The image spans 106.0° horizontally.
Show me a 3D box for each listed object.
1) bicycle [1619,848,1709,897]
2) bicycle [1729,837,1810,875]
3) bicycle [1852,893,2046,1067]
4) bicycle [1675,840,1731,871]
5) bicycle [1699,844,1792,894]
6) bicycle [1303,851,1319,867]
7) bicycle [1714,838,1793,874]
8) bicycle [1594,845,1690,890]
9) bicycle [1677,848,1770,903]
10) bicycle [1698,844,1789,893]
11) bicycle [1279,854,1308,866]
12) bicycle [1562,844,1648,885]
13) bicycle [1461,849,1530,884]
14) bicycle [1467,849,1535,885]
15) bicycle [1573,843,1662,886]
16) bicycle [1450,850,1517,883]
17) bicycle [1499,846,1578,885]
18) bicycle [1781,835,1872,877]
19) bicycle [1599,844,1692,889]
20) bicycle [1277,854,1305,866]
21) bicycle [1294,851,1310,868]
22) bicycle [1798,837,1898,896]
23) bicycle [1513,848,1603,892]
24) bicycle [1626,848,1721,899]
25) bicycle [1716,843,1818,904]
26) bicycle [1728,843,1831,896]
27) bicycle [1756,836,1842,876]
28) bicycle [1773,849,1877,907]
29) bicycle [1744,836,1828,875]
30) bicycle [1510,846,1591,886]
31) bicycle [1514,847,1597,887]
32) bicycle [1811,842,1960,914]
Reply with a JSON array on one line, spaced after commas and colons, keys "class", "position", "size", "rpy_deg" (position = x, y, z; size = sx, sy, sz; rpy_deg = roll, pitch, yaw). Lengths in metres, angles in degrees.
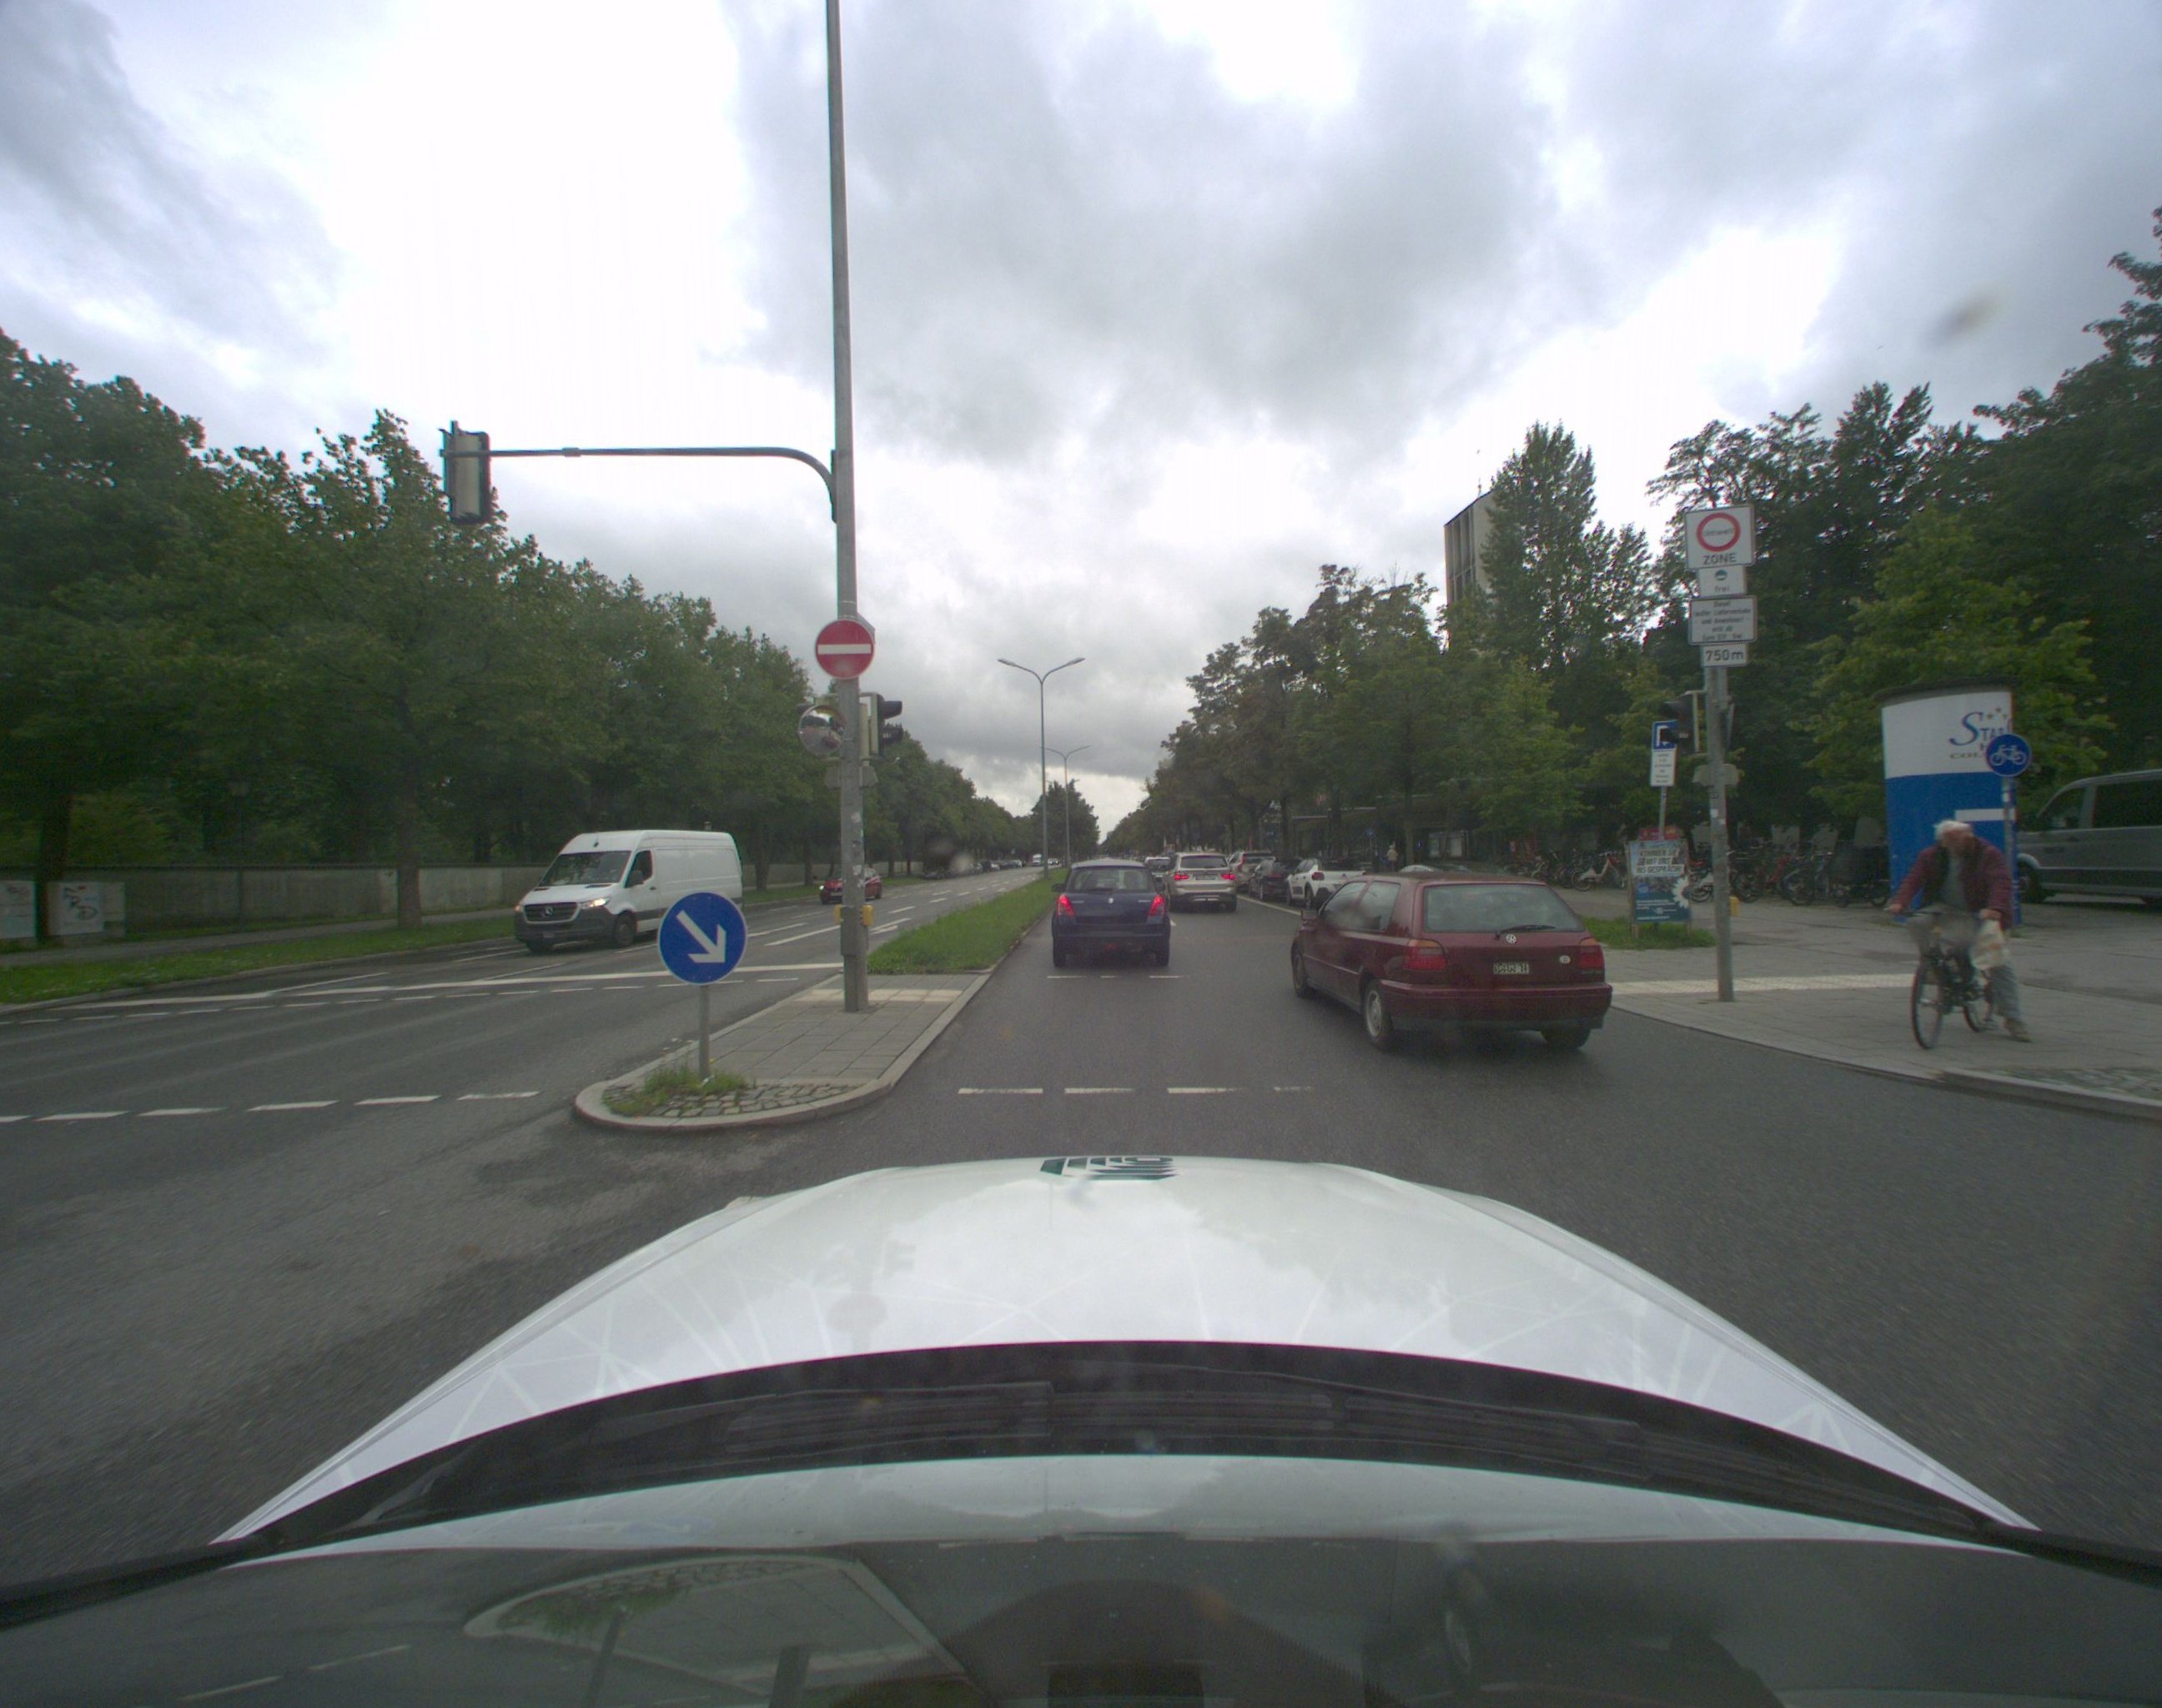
[{"class": "bicycle", "position": [15.103, 0.478, 21.124], "size": [1.797, 1.142, 0.568], "rpy_deg": [-3, -1, 6]}, {"class": "bicycle", "position": [24.295, 0.068, 28.759], "size": [2.330, 1.157, 0.529], "rpy_deg": [-4, 0, 0]}, {"class": "bicycle", "position": [6.864, 0.899, 6.413], "size": [1.955, 1.081, 0.740], "rpy_deg": [-1, -1, -35]}, {"class": "bicycle", "position": [25.015, 0.050, 32.810], "size": [0.525, 1.157, 2.348], "rpy_deg": [-4, 0, 4]}, {"class": "bicycle", "position": [16.615, 0.374, 20.380], "size": [1.799, 1.142, 0.567], "rpy_deg": [-3, -1, 1]}, {"class": "bicycle", "position": [18.511, 0.405, 65.588], "size": [0.643, 1.280, 2.551], "rpy_deg": [-2, 0, 1]}, {"class": "bicycle", "position": [24.257, 0.070, 29.395], "size": [2.330, 1.157, 0.529], "rpy_deg": [-4, 0, 0]}, {"class": "bicycle", "position": [16.352, 0.387, 23.761], "size": [2.330, 1.157, 0.585], "rpy_deg": [-4, 0, 0]}, {"class": "bicycle", "position": [14.696, 0.481, 18.640], "size": [1.806, 1.142, 0.565], "rpy_deg": [-3, -1, -11]}, {"class": "bicycle", "position": [17.063, 0.366, 21.004], "size": [1.799, 1.142, 0.567], "rpy_deg": [-3, -1, 1]}, {"class": "bicycle", "position": [20.427, 0.545, 78.242], "size": [2.533, 1.089, 0.647], "rpy_deg": [-2, -1, 1]}, {"class": "bicycle", "position": [16.775, 0.328, 26.093], "size": [2.330, 1.157, 0.585], "rpy_deg": [-4, 0, 0]}, {"class": "bicycle", "position": [15.867, 0.484, 31.189], "size": [2.330, 1.157, 0.529], "rpy_deg": [-4, 0, 0]}, {"class": "bicycle", "position": [15.608, 0.483, 30.278], "size": [2.337, 1.157, 0.528], "rpy_deg": [-4, 0, -8]}, {"class": "bicycle", "position": [16.766, 0.326, 25.483], "size": [2.330, 1.157, 0.585], "rpy_deg": [-4, 0, 0]}, {"class": "bicycle", "position": [15.898, 0.487, 32.211], "size": [2.330, 1.157, 0.529], "rpy_deg": [-4, 0, 0]}, {"class": "bicycle", "position": [15.582, 0.391, 27.782], "size": [2.330, 1.157, 0.529], "rpy_deg": [-4, 0, 0]}, {"class": "bicycle", "position": [23.721, 0.063, 25.928], "size": [2.330, 1.157, 0.529], "rpy_deg": [-4, 0, 0]}, {"class": "bicycle", "position": [16.903, 0.367, 24.406], "size": [2.330, 1.157, 0.585], "rpy_deg": [-4, 0, 0]}, {"class": "bicycle", "position": [20.482, 0.546, 79.460], "size": [2.533, 1.089, 0.647], "rpy_deg": [-2, -1, 1]}, {"class": "bicycle", "position": [17.795, 0.427, 65.623], "size": [0.643, 1.280, 2.551], "rpy_deg": [-2, 0, 1]}, {"class": "bicycle", "position": [17.300, 0.270, 18.383], "size": [1.940, 1.212, 0.565], "rpy_deg": [-3, -1, -11]}, {"class": "bicycle", "position": [14.519, 0.480, 24.813], "size": [2.330, 1.157, 0.585], "rpy_deg": [-4, 0, 0]}, {"class": "bicycle", "position": [14.602, 0.487, 20.109], "size": [1.795, 1.142, 0.569], "rpy_deg": [-3, -1, 10]}, {"class": "bicycle", "position": [15.204, 0.422, 18.057], "size": [1.940, 1.212, 0.565], "rpy_deg": [-3, -1, -11]}, {"class": "bicycle", "position": [16.508, 0.371, 19.264], "size": [1.797, 1.142, 0.568], "rpy_deg": [-3, -1, 6]}, {"class": "bicycle", "position": [23.946, 0.066, 27.165], "size": [2.330, 1.157, 0.529], "rpy_deg": [-4, 0, 0]}, {"class": "bicycle", "position": [15.350, 0.485, 16.809], "size": [1.806, 1.071, 0.565], "rpy_deg": [-3, -1, -11]}, {"class": "bicycle", "position": [24.024, 0.067, 27.758], "size": [2.330, 1.157, 0.529], "rpy_deg": [-4, 0, 0]}, {"class": "bicycle", "position": [15.688, 0.400, 27.231], "size": [2.330, 1.157, 0.529], "rpy_deg": [-4, 0, 0]}, {"class": "bicycle", "position": [15.535, 0.426, 26.681], "size": [2.330, 1.157, 0.529], "rpy_deg": [-4, 0, 0]}, {"class": "bicycle", "position": [14.928, 0.421, 15.205], "size": [0.857, 1.198, 2.003], "rpy_deg": [-3, 0, 5]}]
